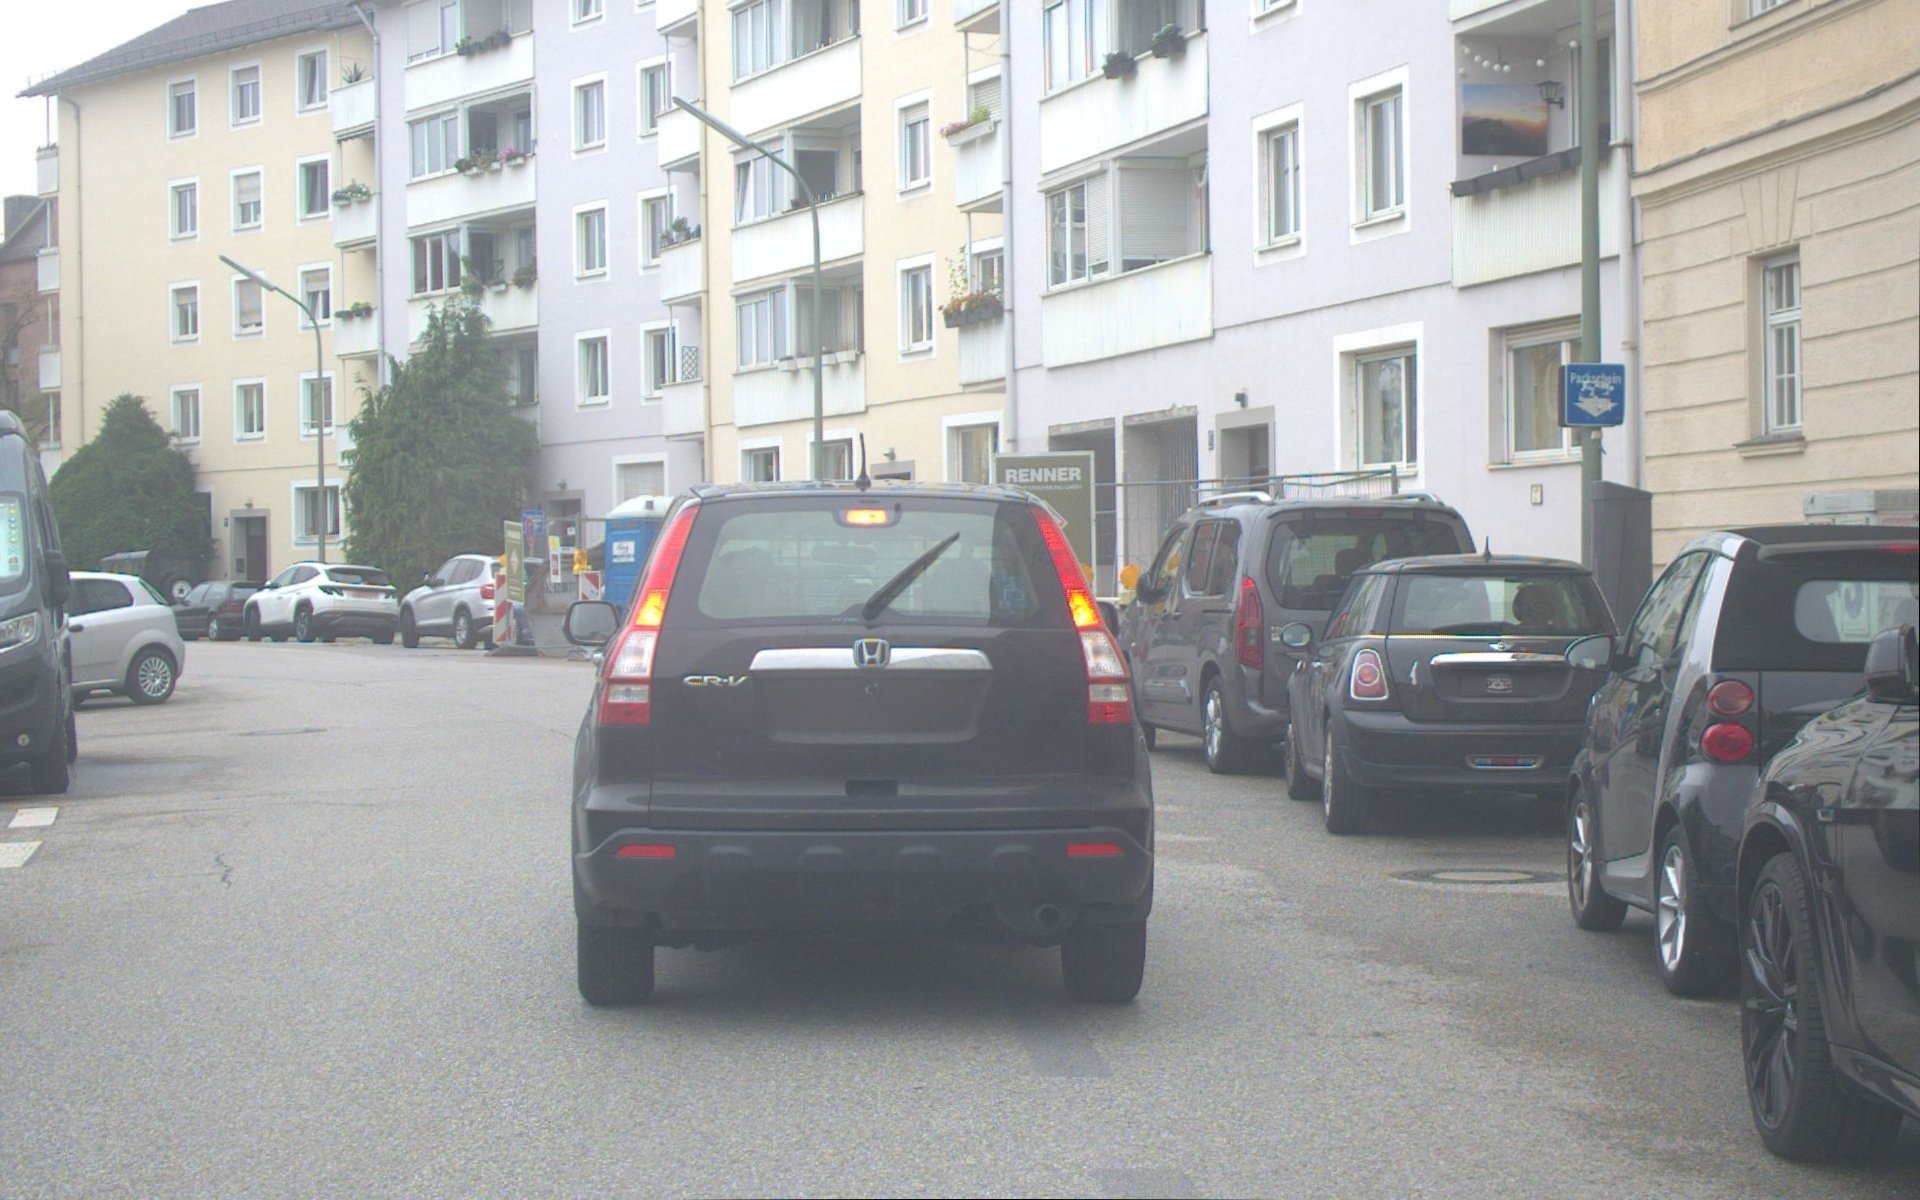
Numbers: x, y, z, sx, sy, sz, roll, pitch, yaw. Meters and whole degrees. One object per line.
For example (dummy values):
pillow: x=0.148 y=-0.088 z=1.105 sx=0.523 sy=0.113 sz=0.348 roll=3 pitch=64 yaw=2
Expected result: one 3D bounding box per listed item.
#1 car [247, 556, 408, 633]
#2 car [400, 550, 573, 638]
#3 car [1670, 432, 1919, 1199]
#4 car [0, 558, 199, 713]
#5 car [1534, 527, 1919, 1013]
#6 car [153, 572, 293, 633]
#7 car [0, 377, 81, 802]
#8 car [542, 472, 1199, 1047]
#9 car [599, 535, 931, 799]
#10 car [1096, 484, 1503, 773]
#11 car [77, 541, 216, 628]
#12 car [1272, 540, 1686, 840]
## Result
car: x=-12.737 y=-0.126 z=69.070 sx=1.724 sy=1.478 sz=4.000 roll=0 pitch=1 yaw=-34
car: x=-8.332 y=-0.130 z=60.286 sx=1.724 sy=1.478 sz=4.001 roll=0 pitch=1 yaw=-28
car: x=2.803 y=0.541 z=6.544 sx=1.869 sy=1.711 sz=4.865 roll=1 pitch=1 yaw=0
car: x=-10.249 y=0.443 z=36.264 sx=1.683 sy=1.476 sz=4.078 roll=-4 pitch=0 yaw=39
car: x=3.076 y=0.520 z=12.370 sx=1.535 sy=1.518 sz=3.110 roll=1 pitch=1 yaw=1
car: x=-15.723 y=0.045 z=73.247 sx=1.697 sy=1.232 sz=3.602 roll=0 pitch=1 yaw=-34
car: x=-7.339 y=-0.082 z=24.135 sx=2.163 sy=2.632 sz=6.019 roll=-2 pitch=1 yaw=-14
car: x=-0.379 y=0.433 z=11.947 sx=1.890 sy=1.642 sz=3.992 roll=-1 pitch=1 yaw=-4
car: x=-1.312 y=0.354 z=21.575 sx=1.678 sy=1.476 sz=4.087 roll=-1 pitch=1 yaw=-9
car: x=2.227 y=0.154 z=23.732 sx=1.777 sy=1.800 sz=4.277 roll=1 pitch=1 yaw=-9
car: x=-18.258 y=-0.372 z=77.049 sx=1.724 sy=1.871 sz=4.000 roll=0 pitch=1 yaw=-34
car: x=2.709 y=0.414 z=18.716 sx=1.708 sy=1.442 sz=3.830 roll=1 pitch=1 yaw=1
